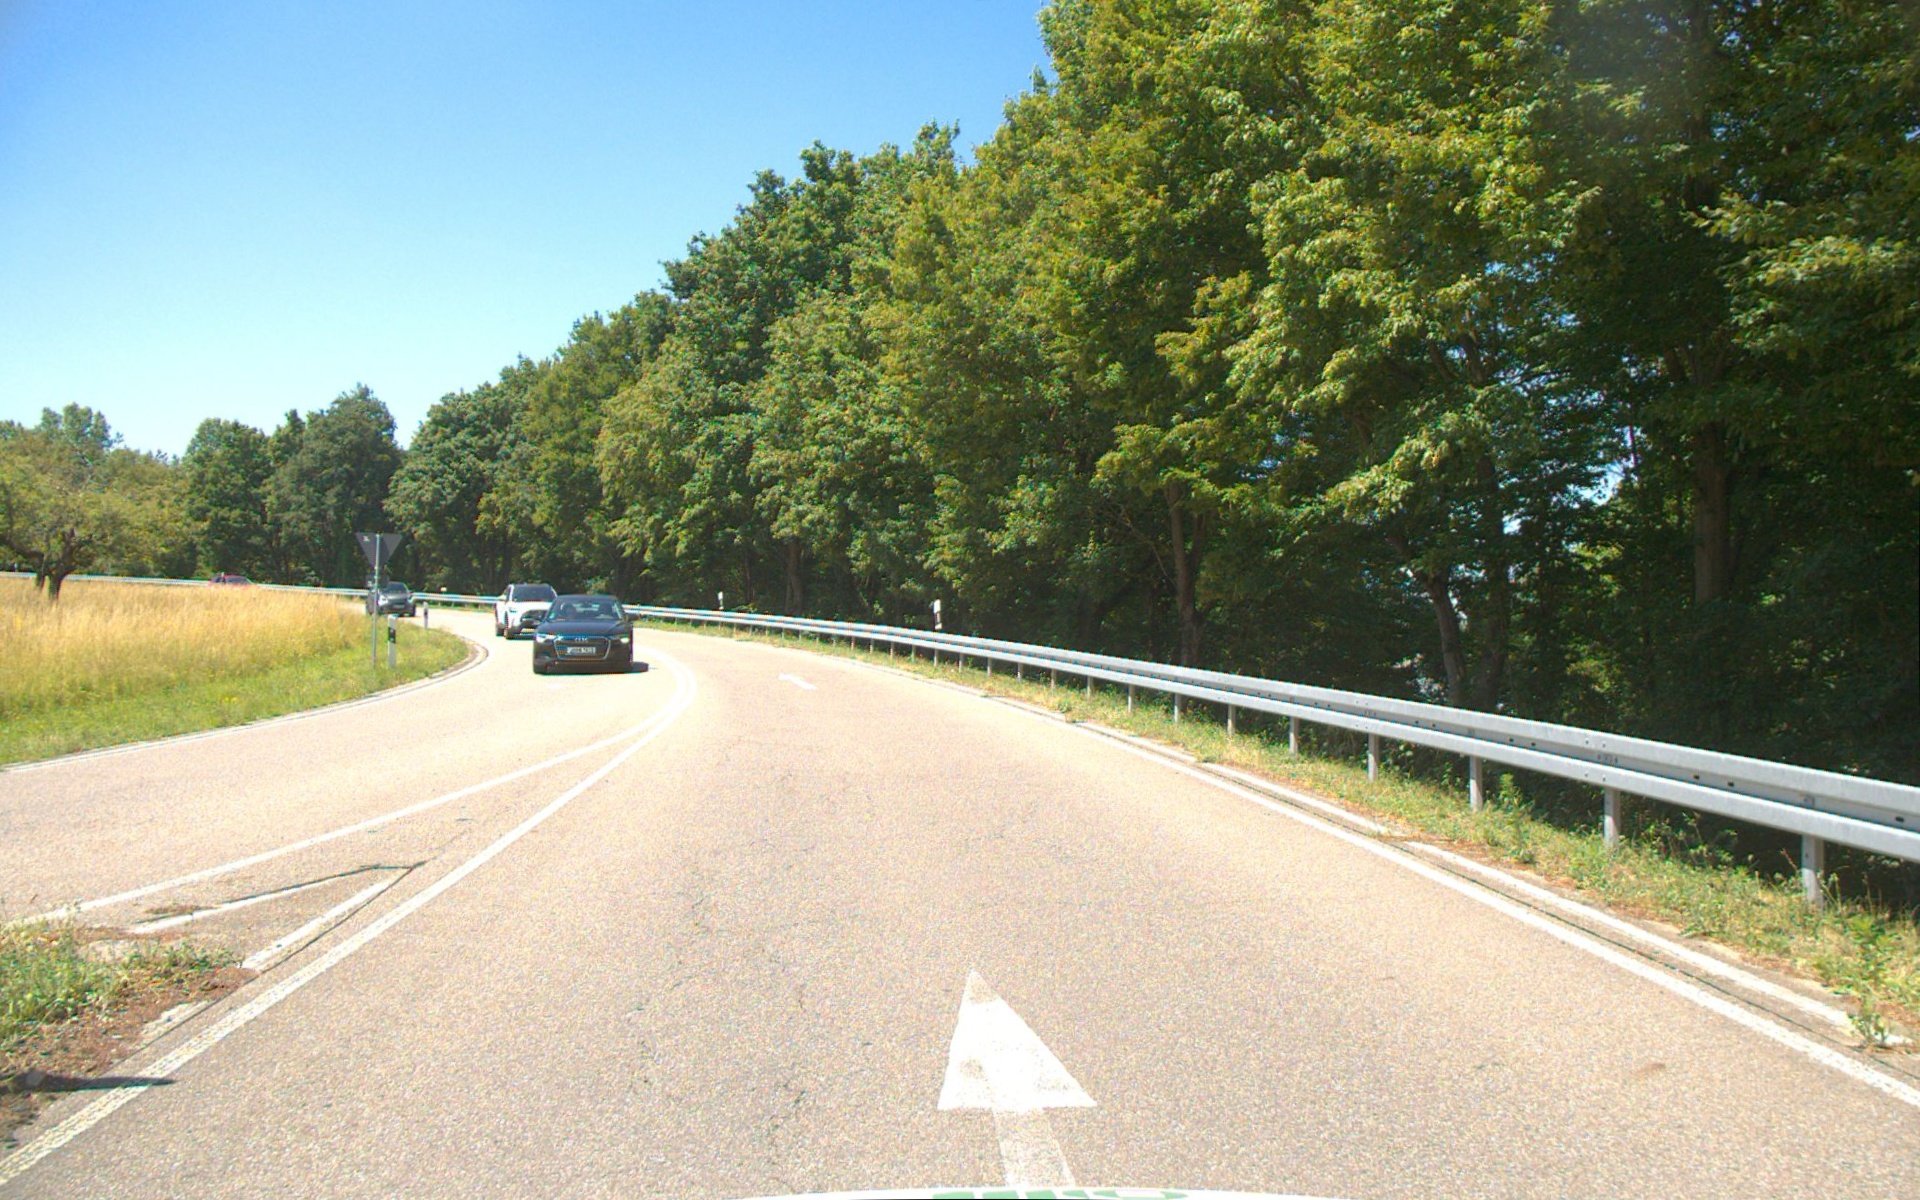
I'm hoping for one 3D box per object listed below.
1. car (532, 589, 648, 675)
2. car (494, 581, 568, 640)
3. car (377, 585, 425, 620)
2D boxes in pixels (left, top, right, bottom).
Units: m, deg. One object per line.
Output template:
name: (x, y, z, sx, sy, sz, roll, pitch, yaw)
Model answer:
car: (-7.218, 0.594, 32.635, 1.768, 1.533, 4.650, -1, 0, -7)
car: (-12.983, 0.333, 49.881, 1.795, 1.618, 4.194, -2, 0, -19)
car: (-24.995, 0.110, 73.925, 1.711, 1.533, 4.043, 0, 0, -23)
